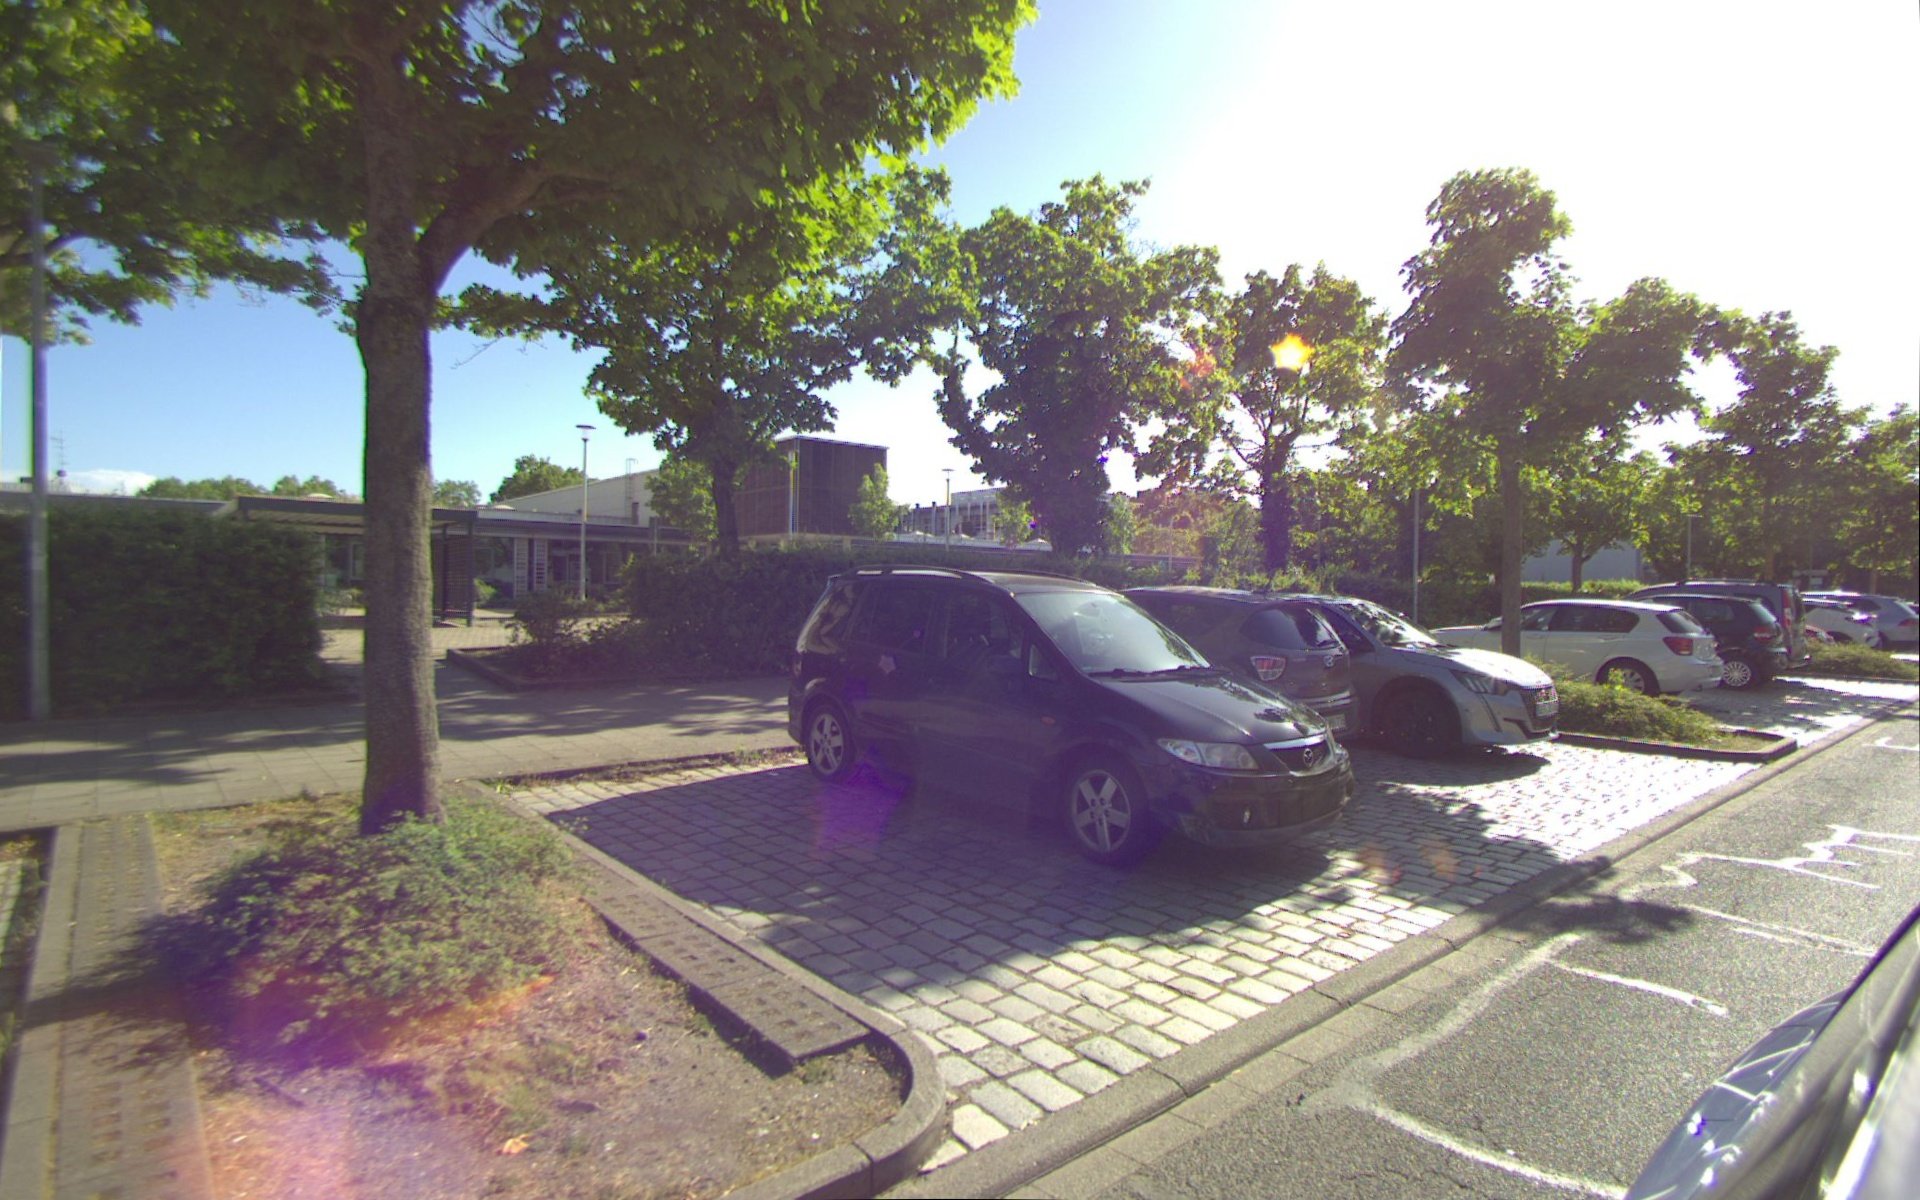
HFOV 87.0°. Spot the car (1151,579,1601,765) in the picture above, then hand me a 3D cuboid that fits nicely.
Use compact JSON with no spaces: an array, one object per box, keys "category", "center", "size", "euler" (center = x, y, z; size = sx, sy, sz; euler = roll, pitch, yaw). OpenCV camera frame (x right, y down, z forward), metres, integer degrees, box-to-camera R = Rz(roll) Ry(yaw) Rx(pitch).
[{"category":"car","center":[4.042,0.560,10.327],"size":[1.712,1.505,3.907],"euler":[1,1,-41]}]

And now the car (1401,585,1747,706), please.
[{"category":"car","center":[9.002,0.555,15.132],"size":[1.710,1.443,4.072],"euler":[0,2,-39]}]

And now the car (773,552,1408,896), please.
[{"category":"car","center":[0.571,0.516,6.841],"size":[1.710,1.600,4.152],"euler":[1,1,-41]}]

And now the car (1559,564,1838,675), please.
[{"category":"car","center":[14.447,0.318,19.963],"size":[1.944,1.952,4.124],"euler":[2,0,-42]}]

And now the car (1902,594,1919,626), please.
[{"category":"car","center":[46.143,0.487,46.600],"size":[1.644,1.444,3.905],"euler":[-1,2,-42]}]

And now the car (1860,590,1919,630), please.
[{"category":"car","center":[39.063,0.441,40.637],"size":[1.707,1.538,4.192],"euler":[0,1,-42]}]

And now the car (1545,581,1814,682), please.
[{"category":"car","center":[12.637,0.497,17.923],"size":[1.677,1.569,3.611],"euler":[2,0,-42]}]

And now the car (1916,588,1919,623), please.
[{"category":"car","center":[52.812,0.371,52.713],"size":[1.847,1.869,4.164],"euler":[0,2,-40]}]

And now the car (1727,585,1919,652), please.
[{"category":"car","center":[23.752,0.445,27.547],"size":[1.880,1.628,4.324],"euler":[0,1,-44]}]

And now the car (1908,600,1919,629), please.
[{"category":"car","center":[50.344,0.797,50.573],"size":[1.798,1.423,4.161],"euler":[0,2,-42]}]

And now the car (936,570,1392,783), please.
[{"category":"car","center":[1.666,0.513,9.228],"size":[1.624,1.523,3.867],"euler":[1,1,-42]}]

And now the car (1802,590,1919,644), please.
[{"category":"car","center":[28.721,0.509,31.624],"size":[1.717,1.507,3.458],"euler":[-1,3,-42]}]

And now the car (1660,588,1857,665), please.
[{"category":"car","center":[17.858,0.530,22.723],"size":[3.361,1.549,1.576],"euler":[2,2,42]}]

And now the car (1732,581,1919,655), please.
[{"category":"car","center":[22.048,0.420,25.436],"size":[1.907,1.717,3.905],"euler":[2,0,-42]}]

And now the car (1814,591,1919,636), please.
[{"category":"car","center":[33.825,0.488,36.836],"size":[1.809,1.516,3.904],"euler":[0,1,-39]}]

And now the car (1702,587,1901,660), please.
[{"category":"car","center":[19.890,0.515,23.987],"size":[3.498,1.549,1.710],"euler":[2,0,45]}]

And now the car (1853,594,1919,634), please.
[{"category":"car","center":[37.259,0.568,39.137],"size":[1.593,1.486,3.905],"euler":[2,0,-42]}]

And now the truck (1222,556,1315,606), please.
[{"category":"truck","center":[25.239,-1.541,83.125],"size":[2.760,3.855,6.918],"euler":[2,0,-38]}]
